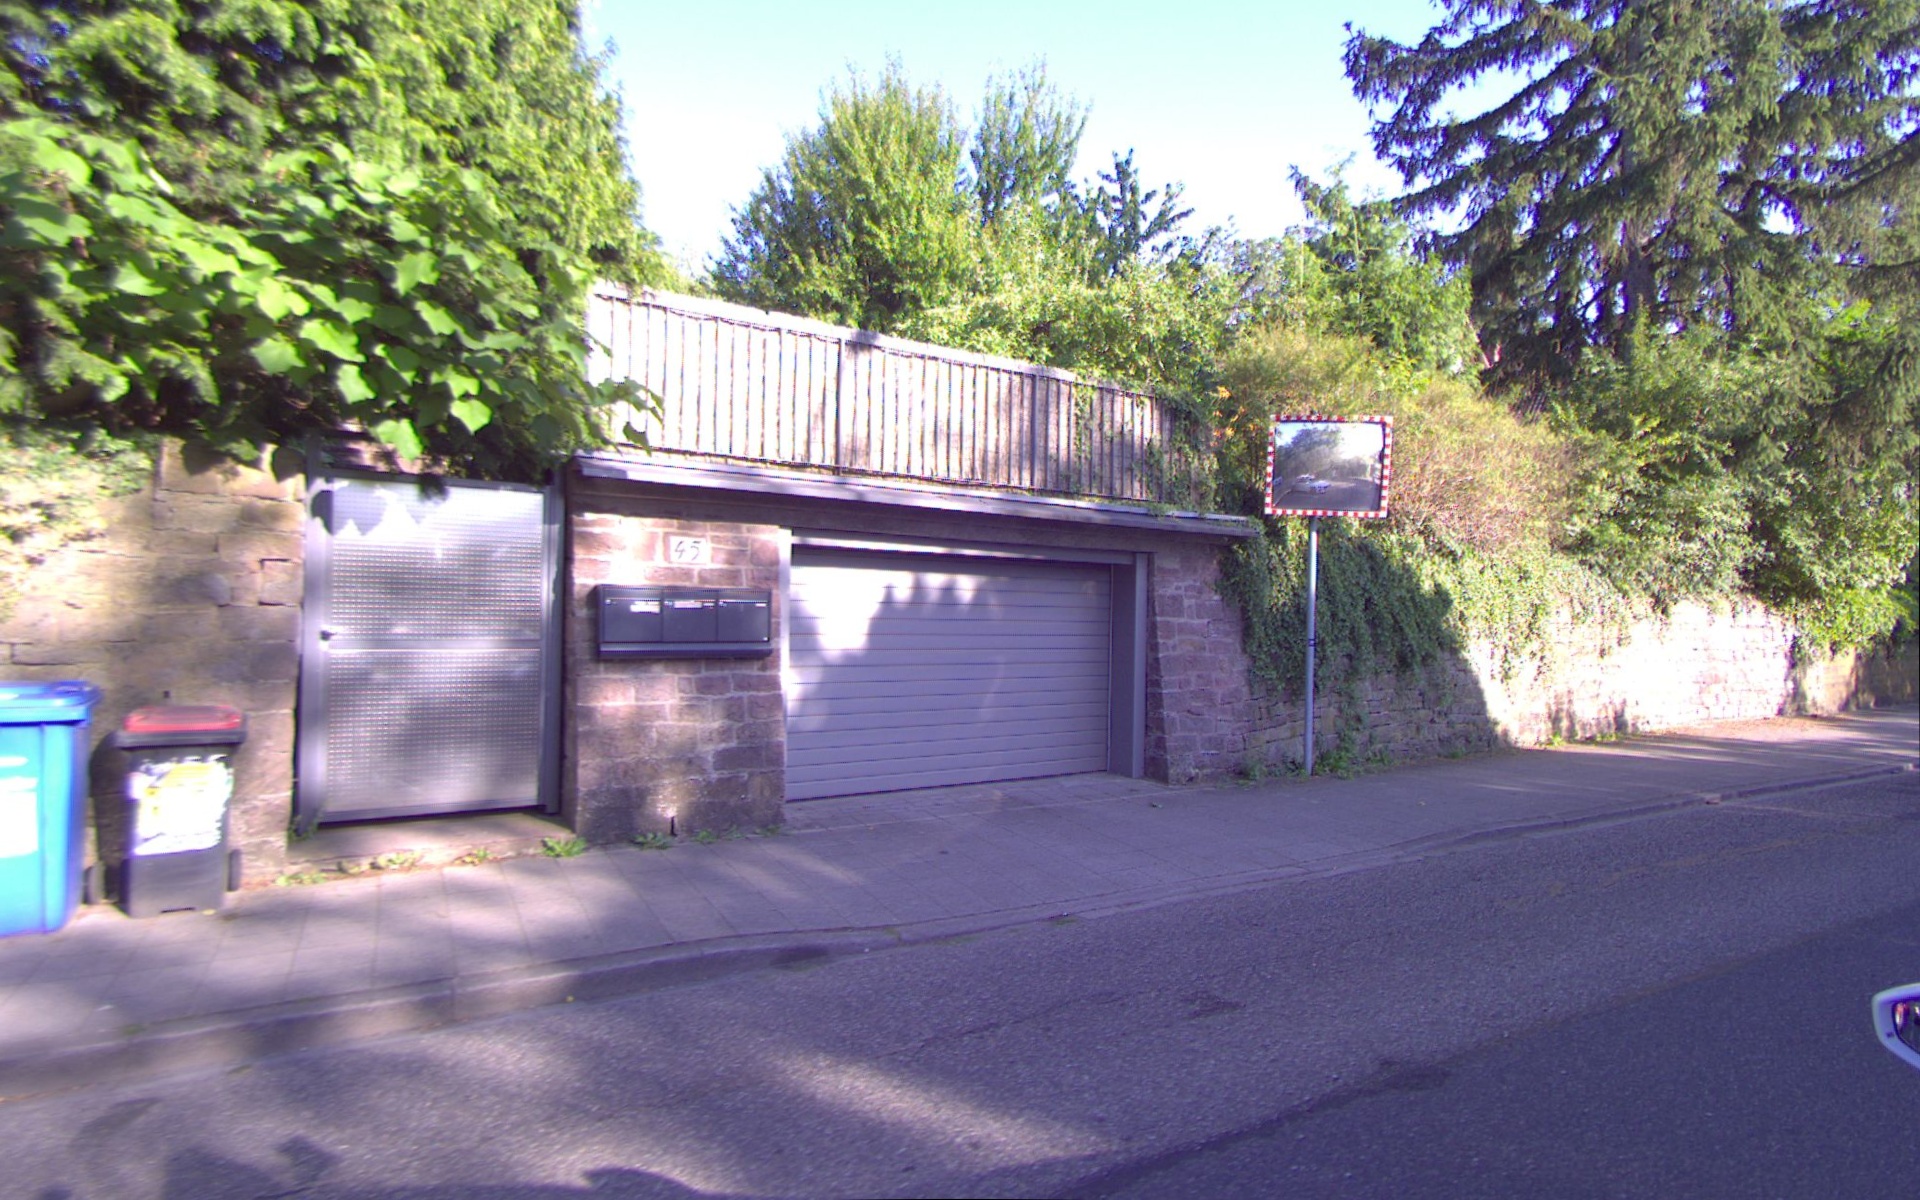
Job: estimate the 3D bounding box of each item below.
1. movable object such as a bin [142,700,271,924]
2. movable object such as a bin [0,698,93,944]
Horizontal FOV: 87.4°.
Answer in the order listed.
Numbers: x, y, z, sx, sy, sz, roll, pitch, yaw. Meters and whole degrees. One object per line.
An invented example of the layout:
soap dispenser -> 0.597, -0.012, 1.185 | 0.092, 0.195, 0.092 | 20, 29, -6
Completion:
movable object such as a bin -> -3.635, 0.988, 4.877 | 0.434, 0.937, 0.570 | 1, 0, -32
movable object such as a bin -> -4.202, 0.944, 4.357 | 0.577, 0.977, 0.487 | 1, 0, -32
